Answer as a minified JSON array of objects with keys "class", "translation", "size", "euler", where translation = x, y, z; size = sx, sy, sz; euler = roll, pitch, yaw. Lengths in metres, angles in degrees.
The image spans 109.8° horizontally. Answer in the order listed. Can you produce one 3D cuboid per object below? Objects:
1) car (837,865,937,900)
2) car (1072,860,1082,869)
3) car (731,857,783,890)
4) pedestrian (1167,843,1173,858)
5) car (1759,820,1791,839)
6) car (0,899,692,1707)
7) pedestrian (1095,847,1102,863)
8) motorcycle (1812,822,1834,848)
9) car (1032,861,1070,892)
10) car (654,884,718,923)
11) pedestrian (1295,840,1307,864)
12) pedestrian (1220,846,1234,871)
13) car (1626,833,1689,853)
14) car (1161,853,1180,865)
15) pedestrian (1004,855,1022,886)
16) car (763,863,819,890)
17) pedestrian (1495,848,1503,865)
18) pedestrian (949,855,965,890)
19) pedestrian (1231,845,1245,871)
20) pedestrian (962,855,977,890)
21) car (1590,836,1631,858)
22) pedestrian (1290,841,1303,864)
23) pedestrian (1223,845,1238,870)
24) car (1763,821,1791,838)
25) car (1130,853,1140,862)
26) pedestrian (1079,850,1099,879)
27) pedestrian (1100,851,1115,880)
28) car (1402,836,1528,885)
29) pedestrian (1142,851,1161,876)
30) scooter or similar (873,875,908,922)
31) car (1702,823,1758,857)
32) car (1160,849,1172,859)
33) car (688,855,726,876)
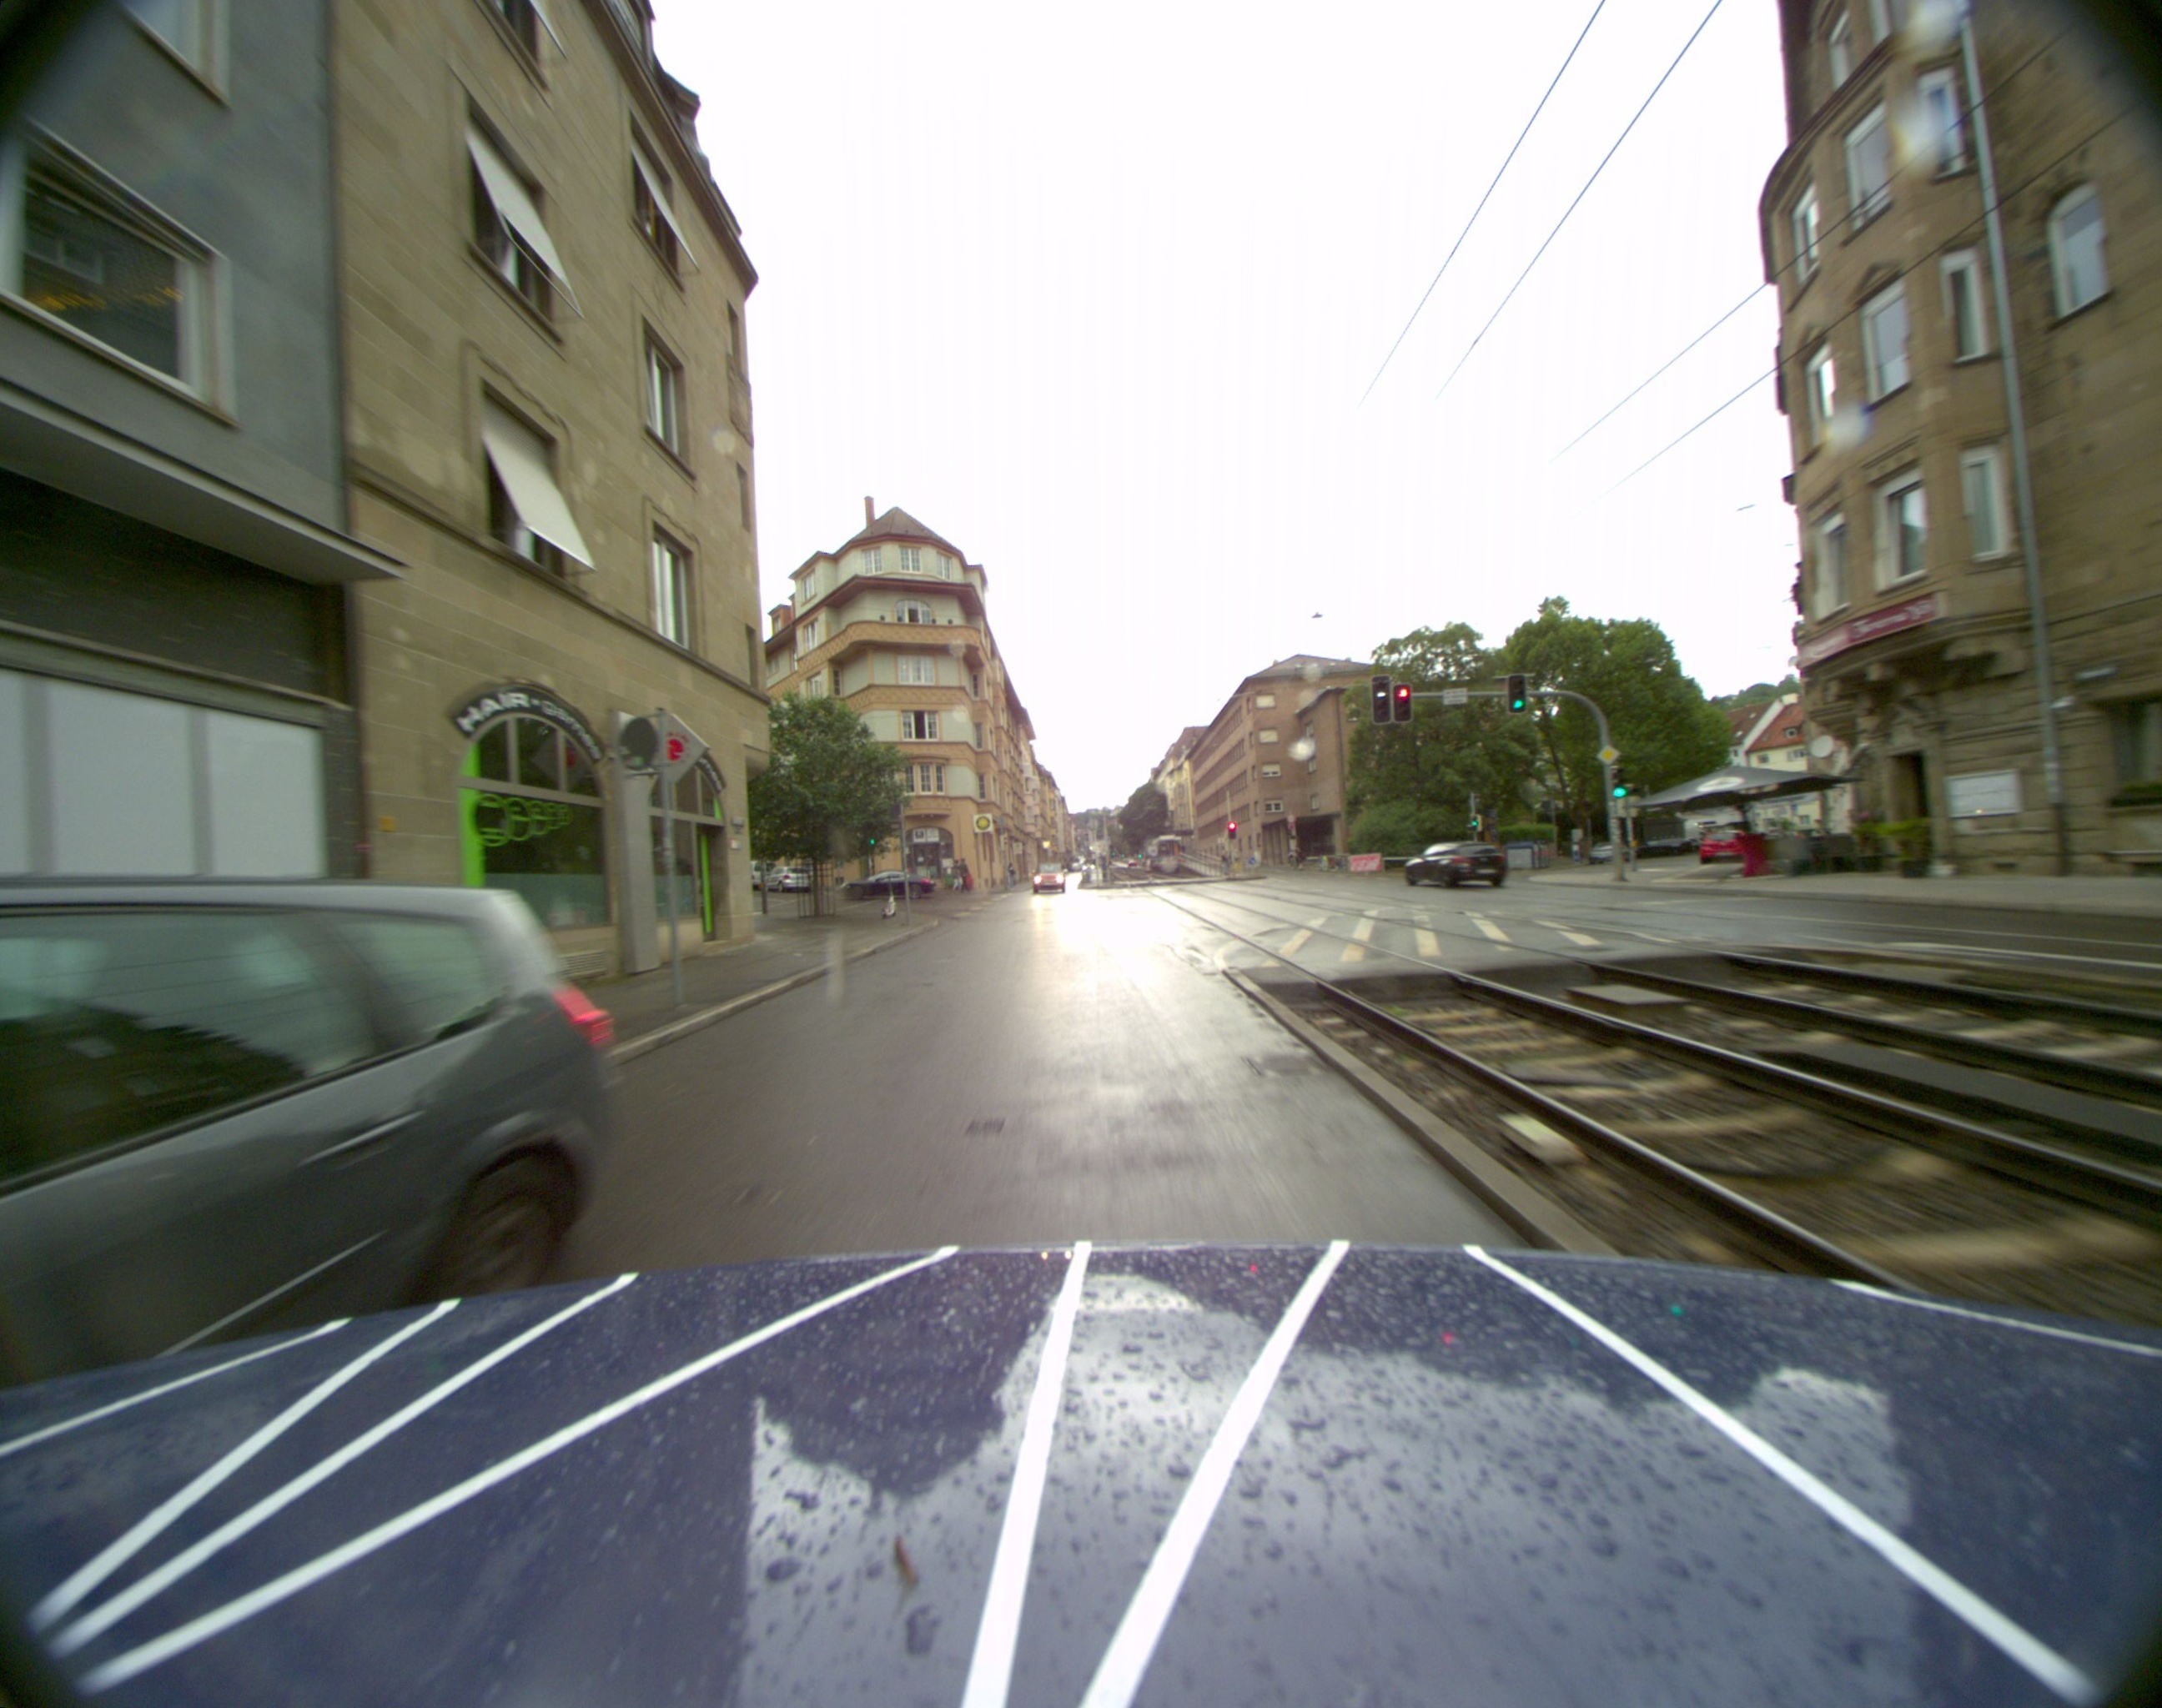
[{"class":"car","translation":[-8.678,1.268,34.218],"size":[4.197,1.280,1.703],"euler":[-2,2,-13]},{"class":"car","translation":[-0.717,1.889,140.823],"size":[1.633,1.443,4.001],"euler":[-4,0,3]},{"class":"car","translation":[-19.574,1.166,45.792],"size":[1.608,1.834,3.545],"euler":[-6,3,-44]},{"class":"pedestrian","translation":[10.669,-0.407,91.504],"size":[0.588,1.699,0.491],"euler":[-2,0,0]},{"class":"car","translation":[53.301,-1.878,58.349],"size":[1.737,1.395,4.008],"euler":[-2,0,43]},{"class":"car","translation":[-2.738,1.011,1.110],"size":[1.770,1.550,4.746],"euler":[-2,0,1]},{"class":"pedestrian","translation":[1.898,0.122,83.284],"size":[0.645,1.764,0.710],"euler":[-4,0,1]},{"class":"motorcycle","translation":[37.062,-0.946,37.969],"size":[0.747,1.248,1.863],"euler":[-2,0,44]},{"class":"car","translation":[-1.495,1.110,38.969],"size":[1.689,1.451,3.299],"euler":[-2,0,2]},{"class":"car","translation":[-21.190,2.585,40.695],"size":[1.749,1.716,4.345],"euler":[-7,4,-44]},{"class":"pedestrian","translation":[15.348,-0.114,53.060],"size":[0.605,1.665,0.688],"euler":[-2,0,-2]},{"class":"pedestrian","translation":[9.911,0.303,51.586],"size":[0.666,1.689,0.688],"euler":[-4,1,-2]},{"class":"car","translation":[47.995,-0.890,63.284],"size":[3.989,1.469,1.746],"euler":[-2,0,45]},{"class":"car","translation":[12.405,0.689,105.633],"size":[1.998,1.618,5.253],"euler":[-1,0,1]},{"class":"pedestrian","translation":[-4.001,0.967,44.625],"size":[0.967,1.829,0.902],"euler":[0,0,1]},{"class":"car","translation":[-16.172,1.246,42.294],"size":[1.695,1.451,3.525],"euler":[1,-2,-44]},{"class":"pedestrian","translation":[25.887,0.157,47.039],"size":[0.417,1.078,0.282],"euler":[-2,0,25]},{"class":"pedestrian","translation":[-6.515,0.964,39.901],"size":[0.684,1.778,0.901],"euler":[-1,0,-3]},{"class":"pedestrian","translation":[10.427,0.253,50.460],"size":[0.745,1.637,0.641],"euler":[-4,0,2]},{"class":"pedestrian","translation":[-5.811,0.959,39.636],"size":[0.595,1.778,0.890],"euler":[-1,0,-3]},{"class":"car","translation":[36.263,-0.502,51.973],"size":[1.737,1.395,4.008],"euler":[-2,0,43]},{"class":"pedestrian","translation":[15.947,-0.090,56.272],"size":[0.767,1.640,0.649],"euler":[-2,0,0]},{"class":"pedestrian","translation":[10.349,0.218,52.613],"size":[0.745,1.686,0.882],"euler":[-4,1,-1]},{"class":"car","translation":[61.434,-2.136,67.044],"size":[1.737,1.395,4.008],"euler":[-2,0,43]},{"class":"car","translation":[12.362,0.699,173.559],"size":[1.998,2.002,4.000],"euler":[-2,0,1]},{"class":"pedestrian","translation":[0.550,0.766,53.877],"size":[0.949,2.002,0.927],"euler":[-4,0,-42]},{"class":"pedestrian","translation":[1.855,0.790,53.706],"size":[0.899,2.002,0.947],"euler":[-4,0,1]},{"class":"car","translation":[12.226,0.200,24.555],"size":[1.953,1.388,4.274],"euler":[-2,0,1]},{"class":"pedestrian","translation":[4.483,0.604,48.394],"size":[0.696,1.573,0.954],"euler":[-3,0,-45]},{"class":"scooter or similar","translation":[-5.297,1.211,21.221],"size":[0.639,1.203,1.552],"euler":[-2,0,-3]},{"class":"car","translation":[29.455,-0.638,34.461],"size":[1.737,1.395,4.008],"euler":[-2,0,43]},{"class":"car","translation":[14.348,0.002,128.082],"size":[1.648,1.457,3.112],"euler":[-4,0,3]},{"class":"car","translation":[-26.091,0.790,52.967],"size":[1.450,1.416,3.290],"euler":[-1,0,-44]}]
